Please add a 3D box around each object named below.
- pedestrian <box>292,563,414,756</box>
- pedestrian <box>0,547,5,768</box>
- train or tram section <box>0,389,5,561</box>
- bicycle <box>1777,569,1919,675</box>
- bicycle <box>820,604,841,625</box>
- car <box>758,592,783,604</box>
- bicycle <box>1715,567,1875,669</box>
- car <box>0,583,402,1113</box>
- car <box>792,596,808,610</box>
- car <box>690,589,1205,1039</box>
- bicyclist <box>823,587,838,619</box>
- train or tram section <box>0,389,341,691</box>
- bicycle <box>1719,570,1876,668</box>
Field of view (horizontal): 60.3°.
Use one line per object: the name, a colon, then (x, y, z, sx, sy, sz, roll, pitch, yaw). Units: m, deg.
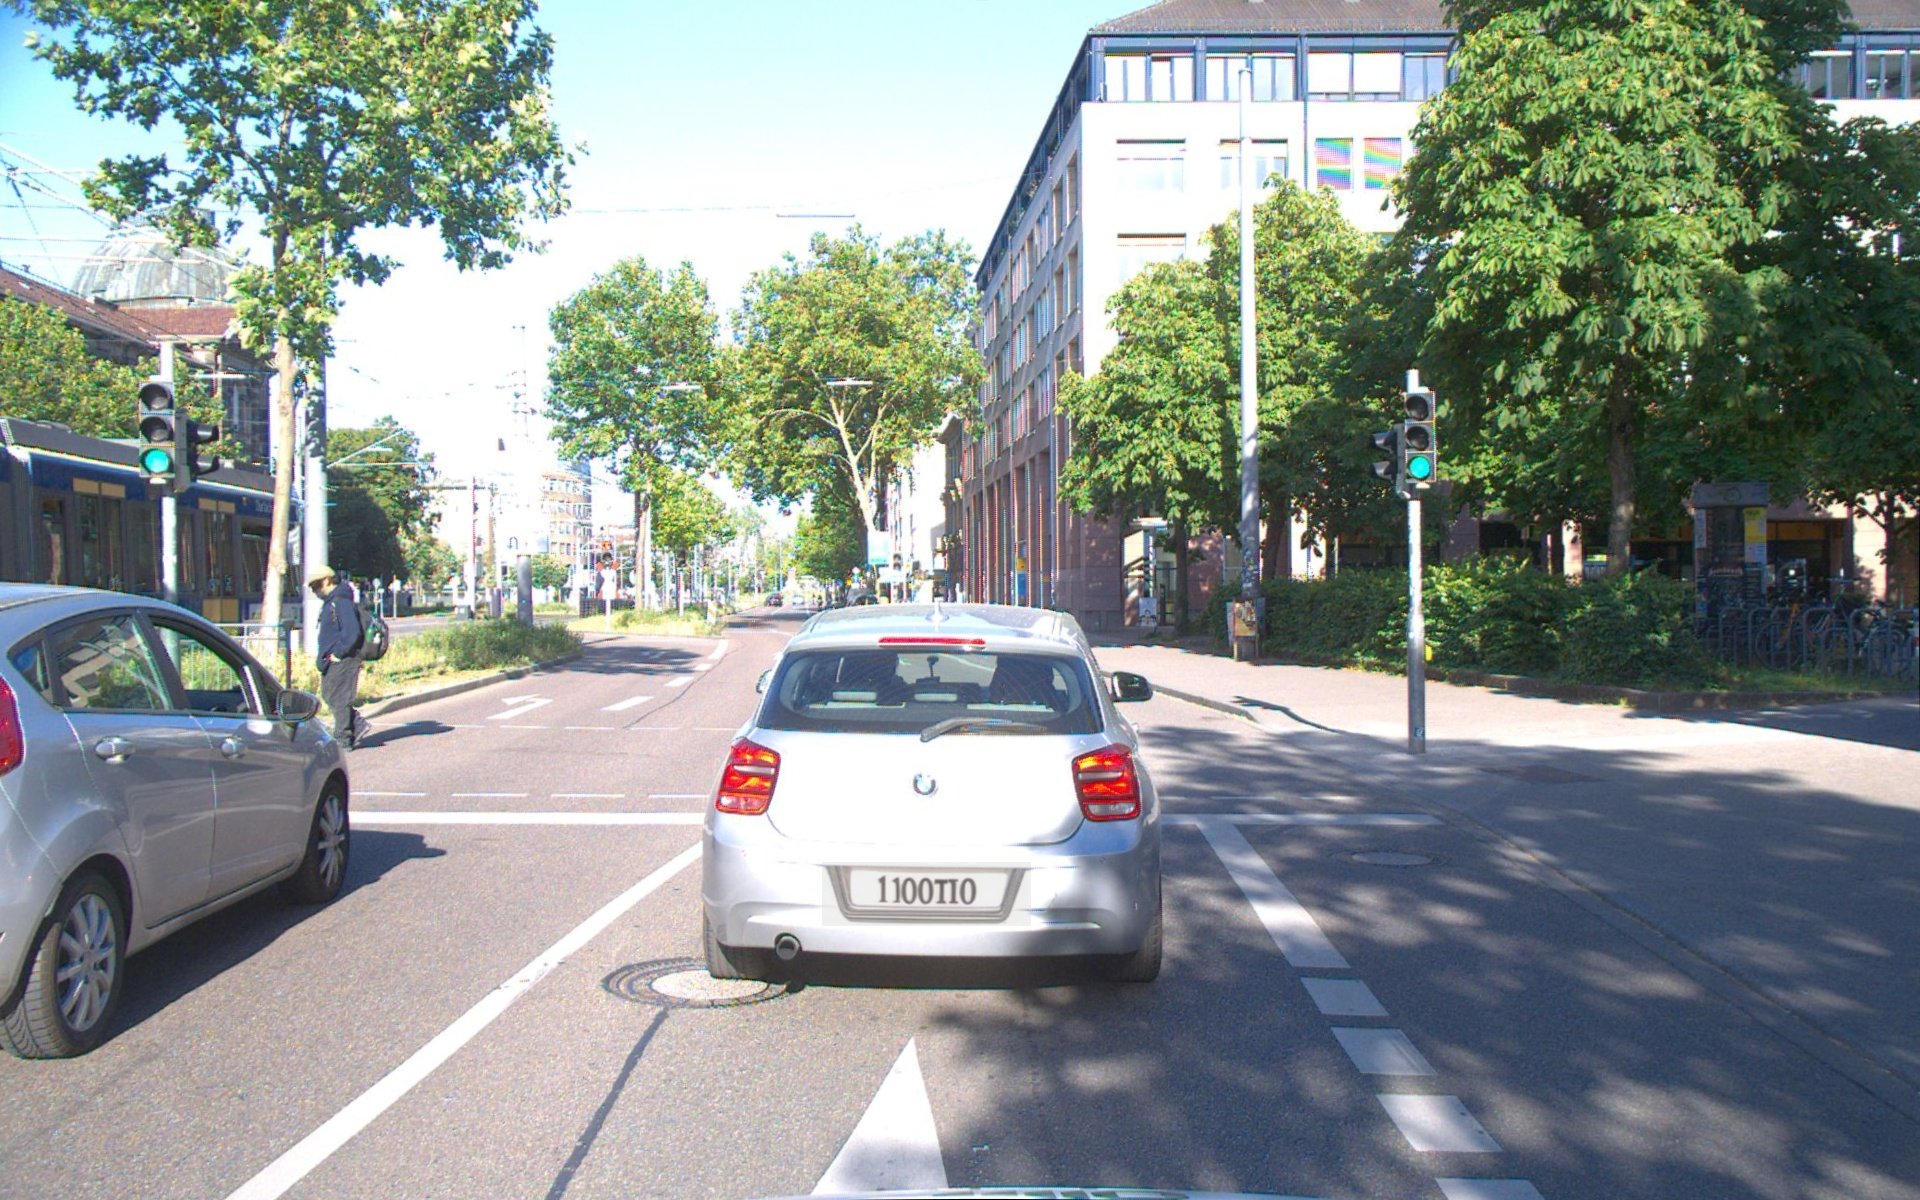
pedestrian: (-5.346, 0.512, 14.609, 0.924, 1.657, 0.626, 0, 0, -13)
pedestrian: (-7.160, 0.417, 11.563, 0.619, 1.584, 0.645, -1, 0, -9)
train or tram section: (-11.140, -0.777, 10.118, 2.858, 3.317, 15.871, 1, -1, -6)
bicycle: (12.090, 0.288, 22.186, 1.956, 1.337, 0.574, -2, 0, -2)
bicycle: (-7.019, 0.788, 89.703, 0.814, 1.059, 1.875, -1, 0, 4)
car: (-24.331, -0.269, 212.176, 1.969, 1.512, 3.966, -1, 0, -26)
bicycle: (11.796, 0.249, 23.393, 1.956, 1.337, 0.574, -2, 0, -2)
car: (-3.462, 0.665, 6.241, 1.627, 1.434, 3.630, 1, 0, -3)
car: (-23.872, 0.485, 246.253, 1.953, 2.049, 3.999, 1, -1, 0)
car: (0.034, 0.696, 7.412, 1.694, 1.414, 3.841, 1, 1, 2)
bicyclist: (-7.040, 0.152, 89.703, 0.644, 1.686, 0.765, -1, 0, 5)
train or tram section: (-12.543, -0.604, 24.491, 2.858, 3.317, 13.097, 1, -1, -5)
bicycle: (12.151, 0.268, 24.022, 1.956, 1.337, 0.574, -2, 0, -2)
